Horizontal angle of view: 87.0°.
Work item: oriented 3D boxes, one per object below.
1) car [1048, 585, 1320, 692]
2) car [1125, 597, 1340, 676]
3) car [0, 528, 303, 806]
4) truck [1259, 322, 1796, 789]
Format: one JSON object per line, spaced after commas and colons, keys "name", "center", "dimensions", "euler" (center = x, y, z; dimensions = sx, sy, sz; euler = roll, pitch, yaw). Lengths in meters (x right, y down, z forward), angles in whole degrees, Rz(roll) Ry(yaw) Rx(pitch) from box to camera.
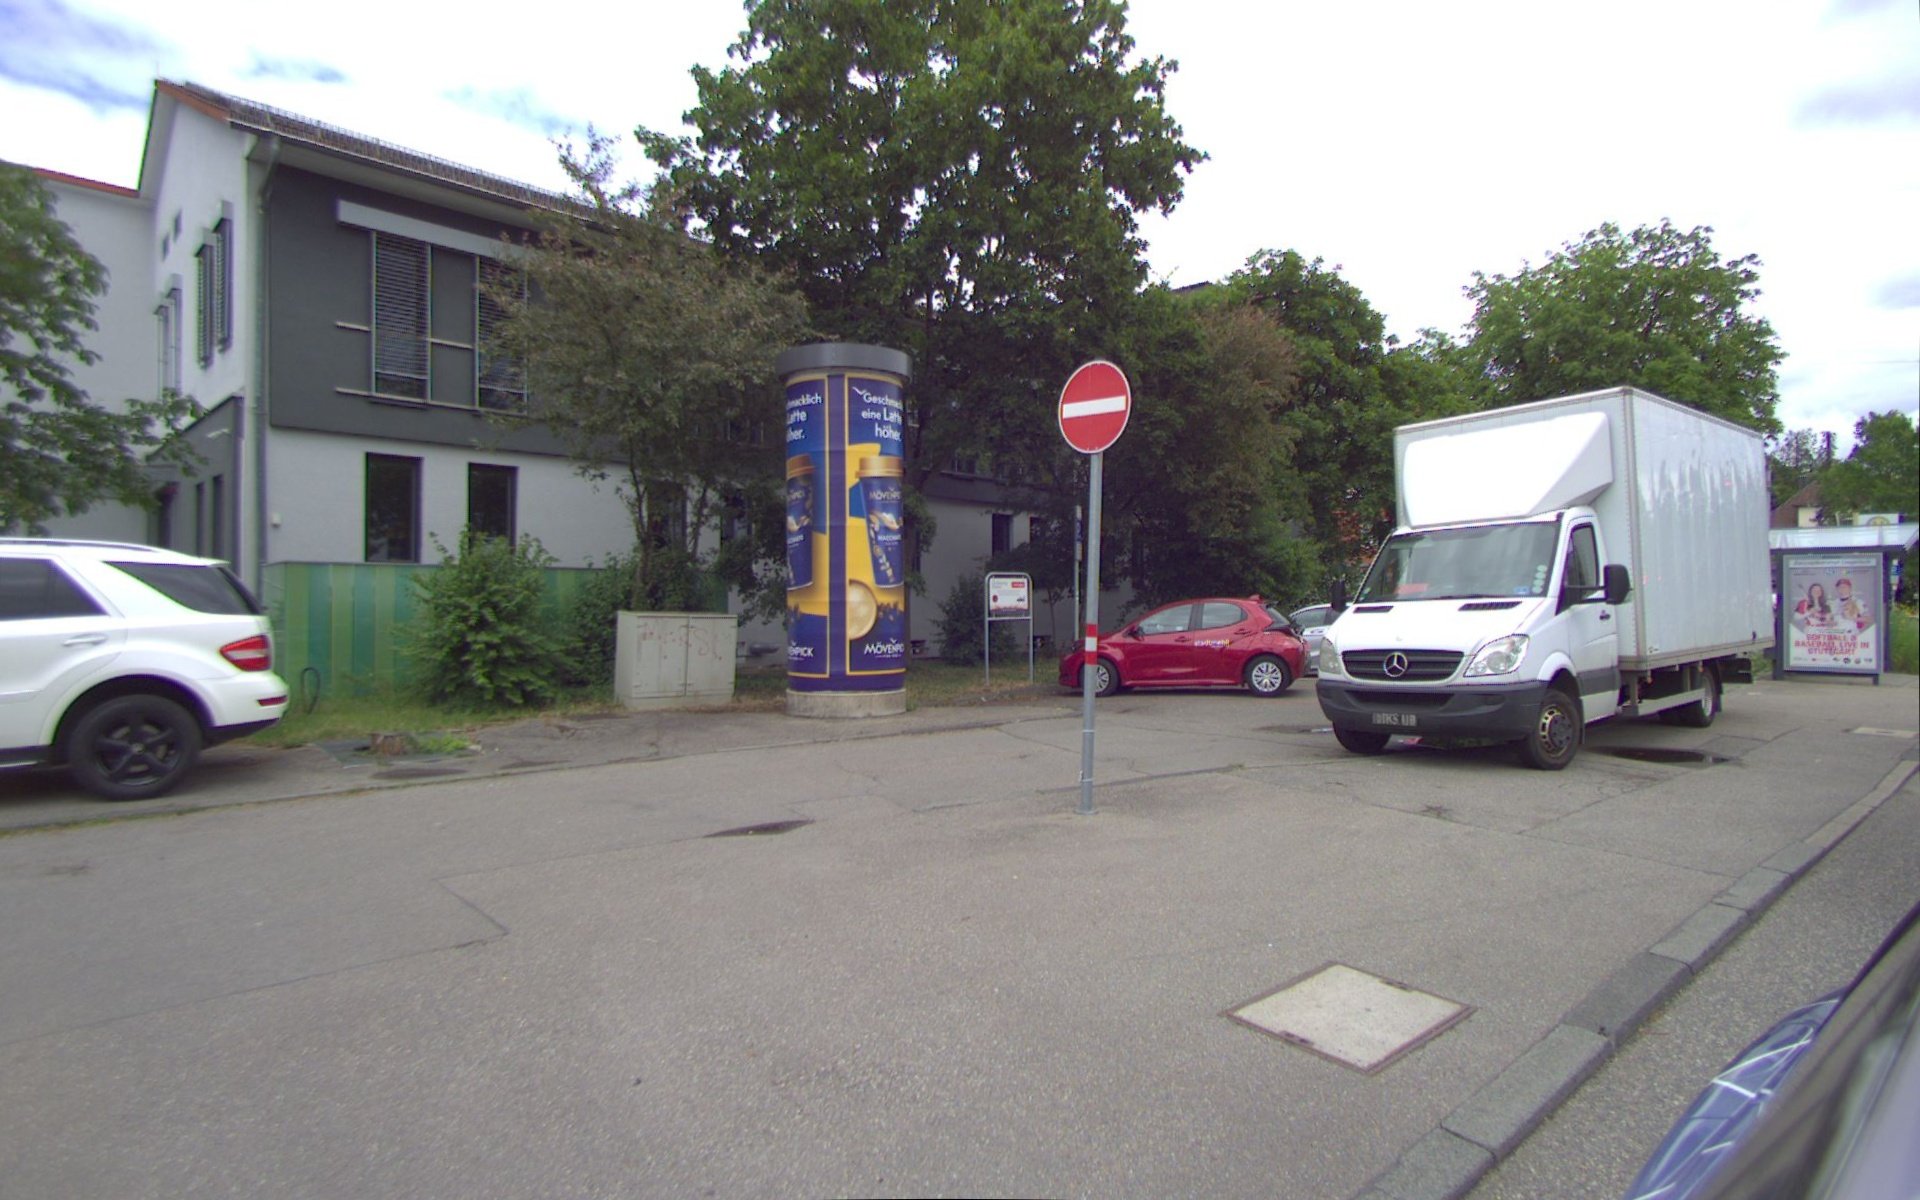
{"name": "car", "center": [3.492, 0.613, 15.806], "dimensions": [3.856, 1.502, 1.669], "euler": [-2, -1, 25]}
{"name": "car", "center": [5.376, 0.715, 20.141], "dimensions": [3.946, 1.428, 1.516], "euler": [-2, -1, 18]}
{"name": "car", "center": [-7.246, 0.428, 6.718], "dimensions": [4.640, 1.780, 1.855], "euler": [0, 0, -41]}
{"name": "truck", "center": [6.540, -0.390, 10.965], "dimensions": [7.638, 3.469, 2.540], "euler": [-1, 0, -40]}
